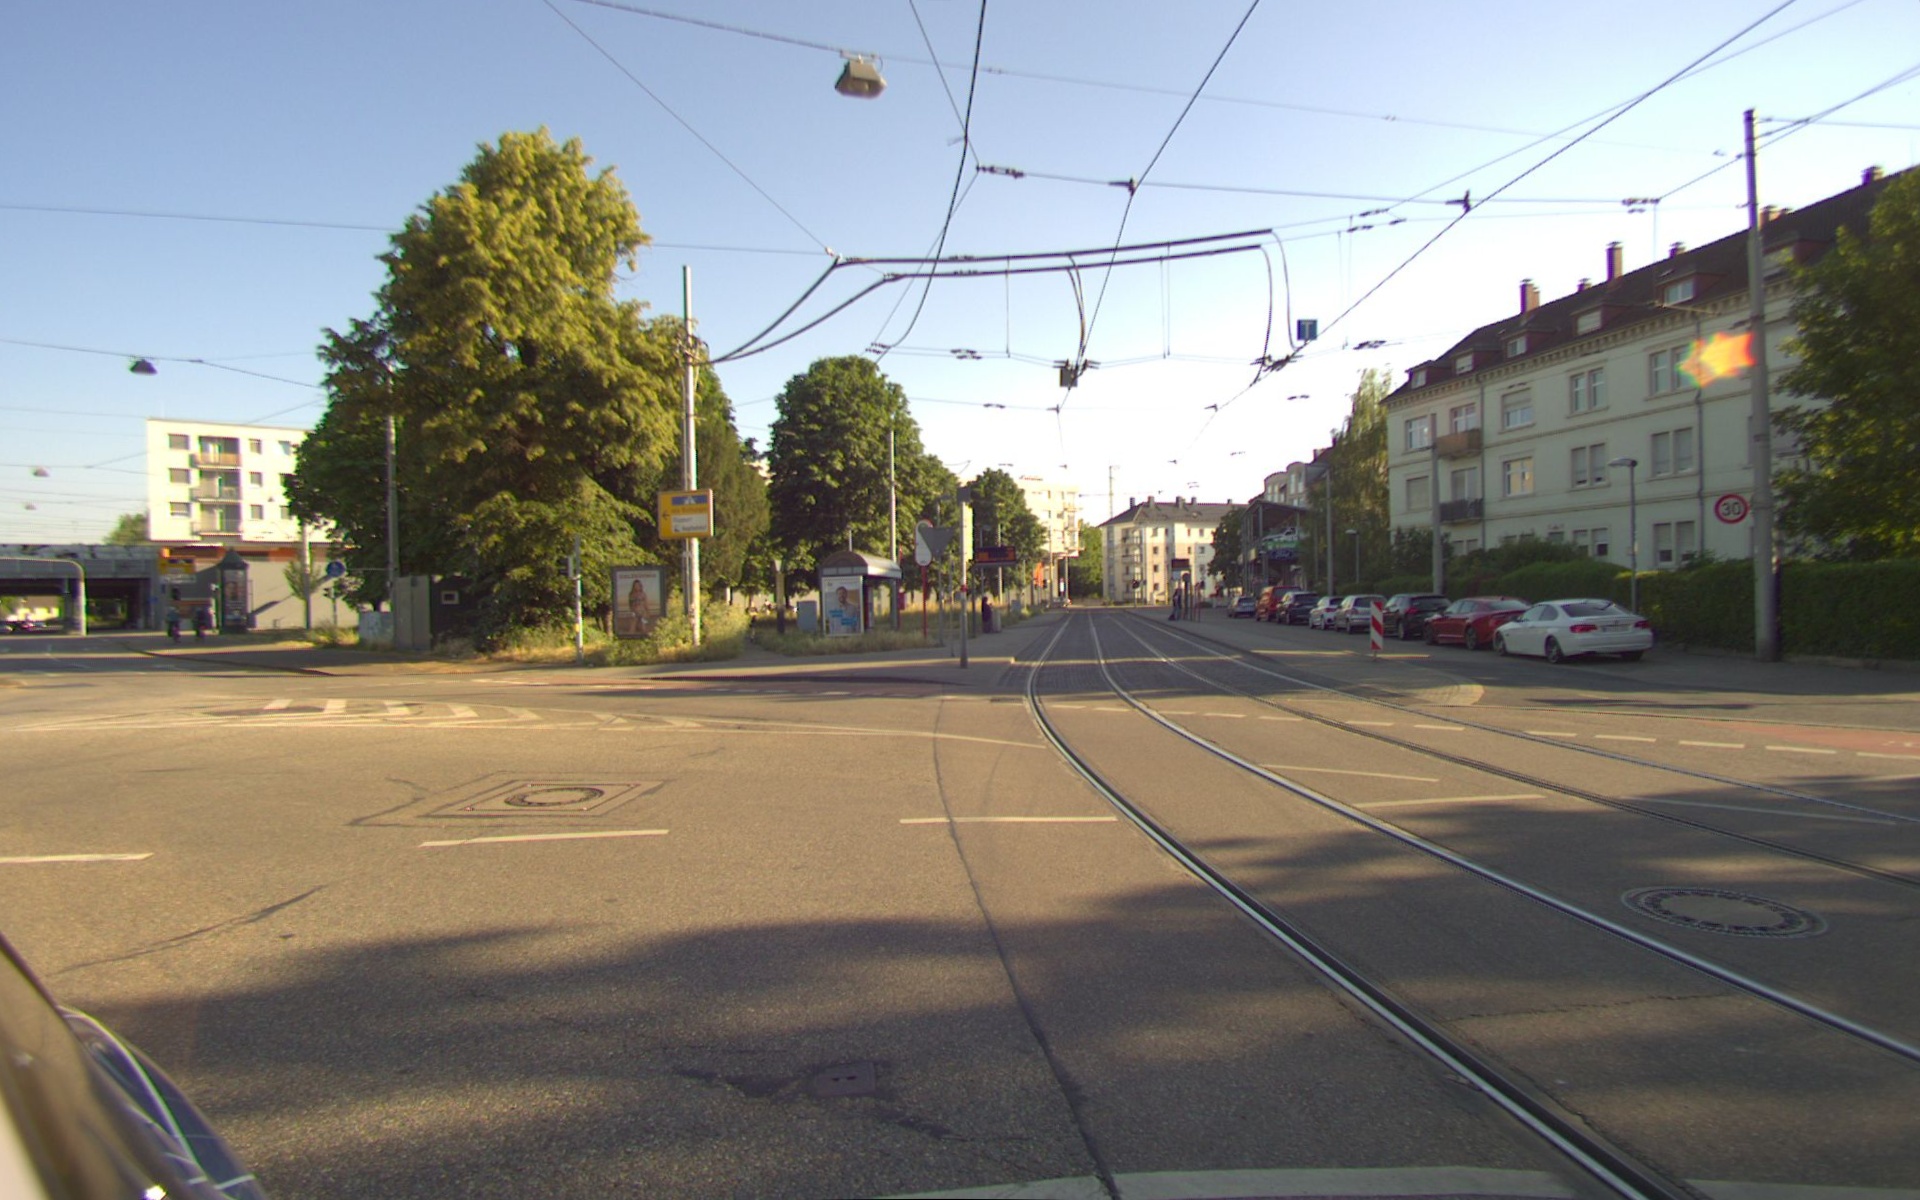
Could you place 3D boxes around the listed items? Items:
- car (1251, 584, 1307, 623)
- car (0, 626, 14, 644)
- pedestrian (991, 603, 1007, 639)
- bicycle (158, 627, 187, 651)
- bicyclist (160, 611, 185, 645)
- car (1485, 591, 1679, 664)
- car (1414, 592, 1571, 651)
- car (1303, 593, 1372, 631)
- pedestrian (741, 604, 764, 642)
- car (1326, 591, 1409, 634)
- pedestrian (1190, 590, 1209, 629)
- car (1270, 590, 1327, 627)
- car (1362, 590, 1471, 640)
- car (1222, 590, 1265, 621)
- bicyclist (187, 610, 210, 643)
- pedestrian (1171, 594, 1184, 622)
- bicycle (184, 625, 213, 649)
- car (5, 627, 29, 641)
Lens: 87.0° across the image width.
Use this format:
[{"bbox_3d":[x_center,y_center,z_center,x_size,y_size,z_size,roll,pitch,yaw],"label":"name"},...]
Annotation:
[{"bbox_3d":[18.030,0.189,57.417,2.032,1.976,5.140,-3,0,7],"label":"car"},{"bbox_3d":[-93.886,3.453,98.795,1.968,1.716,4.007,-1,0,-39],"label":"car"},{"bbox_3d":[1.583,0.834,41.153,0.589,1.438,0.506,-1,0,0],"label":"pedestrian"},{"bbox_3d":[-36.836,1.807,47.332,2.017,1.077,0.655,-1,0,39],"label":"bicycle"},{"bbox_3d":[-36.835,1.293,47.349,1.036,1.543,0.689,-1,0,39],"label":"bicyclist"},{"bbox_3d":[13.953,0.562,23.076,1.907,1.387,4.489,-4,0,6],"label":"car"},{"bbox_3d":[14.668,0.545,28.226,1.961,1.387,4.702,-3,0,2],"label":"car"},{"bbox_3d":[16.112,0.470,43.371,1.823,1.458,3.950,-4,0,7],"label":"car"},{"bbox_3d":[-8.242,0.905,40.219,0.659,1.504,0.853,-1,-1,-26],"label":"pedestrian"},{"bbox_3d":[15.549,0.456,38.797,1.963,1.458,3.711,-4,0,7],"label":"car"},{"bbox_3d":[12.611,0.512,53.389,0.914,2.029,0.766,-1,-1,13],"label":"pedestrian"},{"bbox_3d":[17.008,0.383,51.060,1.823,1.680,4.361,-3,0,7],"label":"car"},{"bbox_3d":[15.315,0.460,34.218,1.963,1.458,4.695,-4,0,7],"label":"car"},{"bbox_3d":[19.992,0.363,71.577,2.032,1.976,5.140,-3,0,7],"label":"car"},{"bbox_3d":[-36.182,1.261,48.065,1.037,1.543,0.652,-1,0,41],"label":"bicyclist"},{"bbox_3d":[12.017,0.447,55.973,0.564,1.512,0.674,-1,0,20],"label":"pedestrian"},{"bbox_3d":[-36.220,1.761,48.119,2.017,1.077,0.655,-1,0,40],"label":"bicycle"},{"bbox_3d":[-119.443,4.313,128.190,1.968,1.716,4.007,-1,0,-39],"label":"car"}]
